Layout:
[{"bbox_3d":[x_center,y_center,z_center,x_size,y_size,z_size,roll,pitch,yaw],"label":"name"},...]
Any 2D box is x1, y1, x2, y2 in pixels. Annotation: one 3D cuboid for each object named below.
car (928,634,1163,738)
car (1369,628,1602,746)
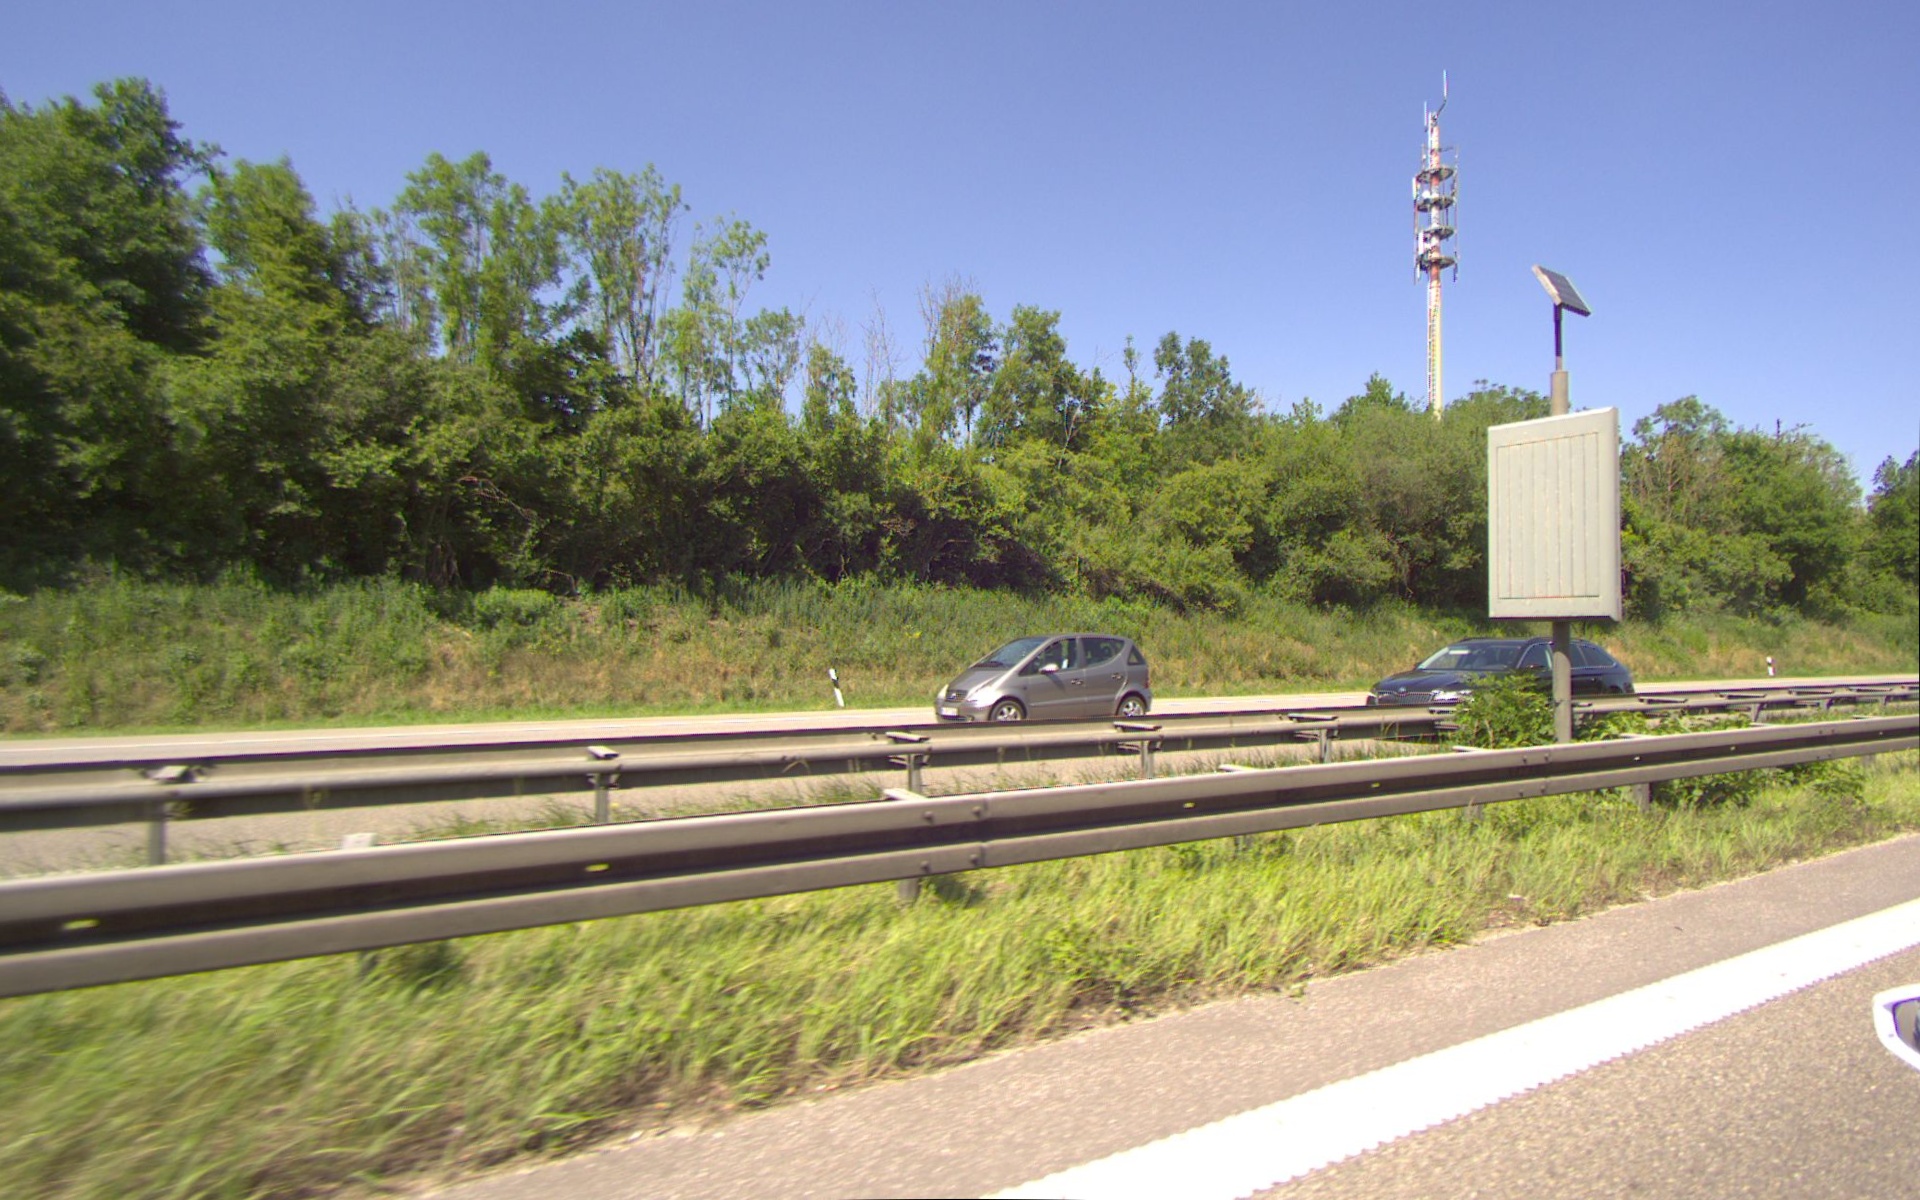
[{"bbox_3d":[1.402,1.313,16.239,3.503,1.515,1.667,1,-2,-30],"label":"car"},{"bbox_3d":[7.701,1.196,14.678,3.417,1.548,1.427,1,-2,-30],"label":"car"}]
